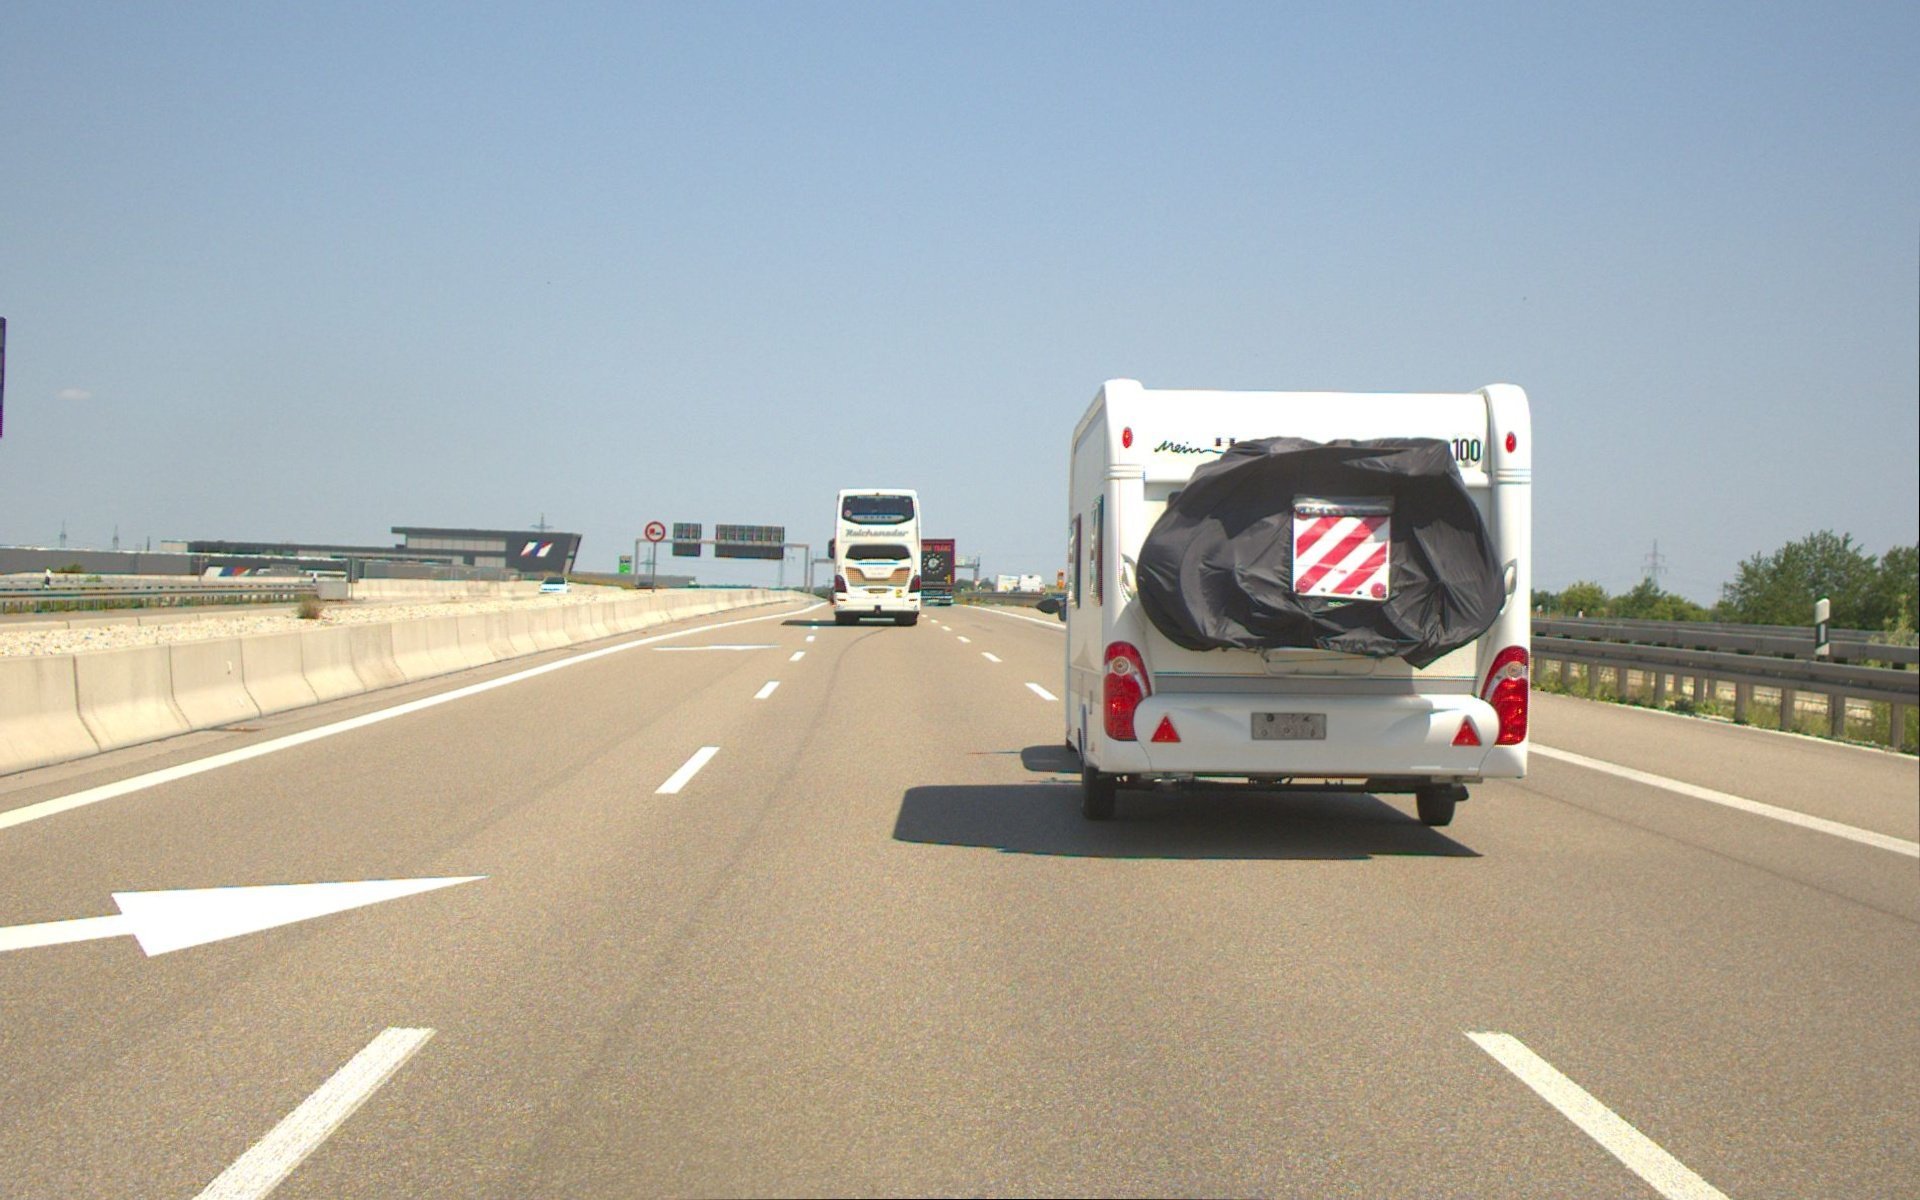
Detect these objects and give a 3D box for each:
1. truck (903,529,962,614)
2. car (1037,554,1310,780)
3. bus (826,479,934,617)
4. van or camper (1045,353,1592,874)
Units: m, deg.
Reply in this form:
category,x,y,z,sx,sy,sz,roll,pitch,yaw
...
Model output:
category,x,y,z,sx,sy,sz,roll,pitch,yaw
truck,-1.640,-1.654,210.386,3.379,4.449,13.565,1,-2,0
car,1.616,0.463,27.548,1.880,1.617,4.904,1,1,0
bus,-2.507,-1.576,104.450,2.980,3.961,9.106,1,1,-3
van or camper,1.901,0.024,21.210,2.512,2.584,7.817,1,1,0
